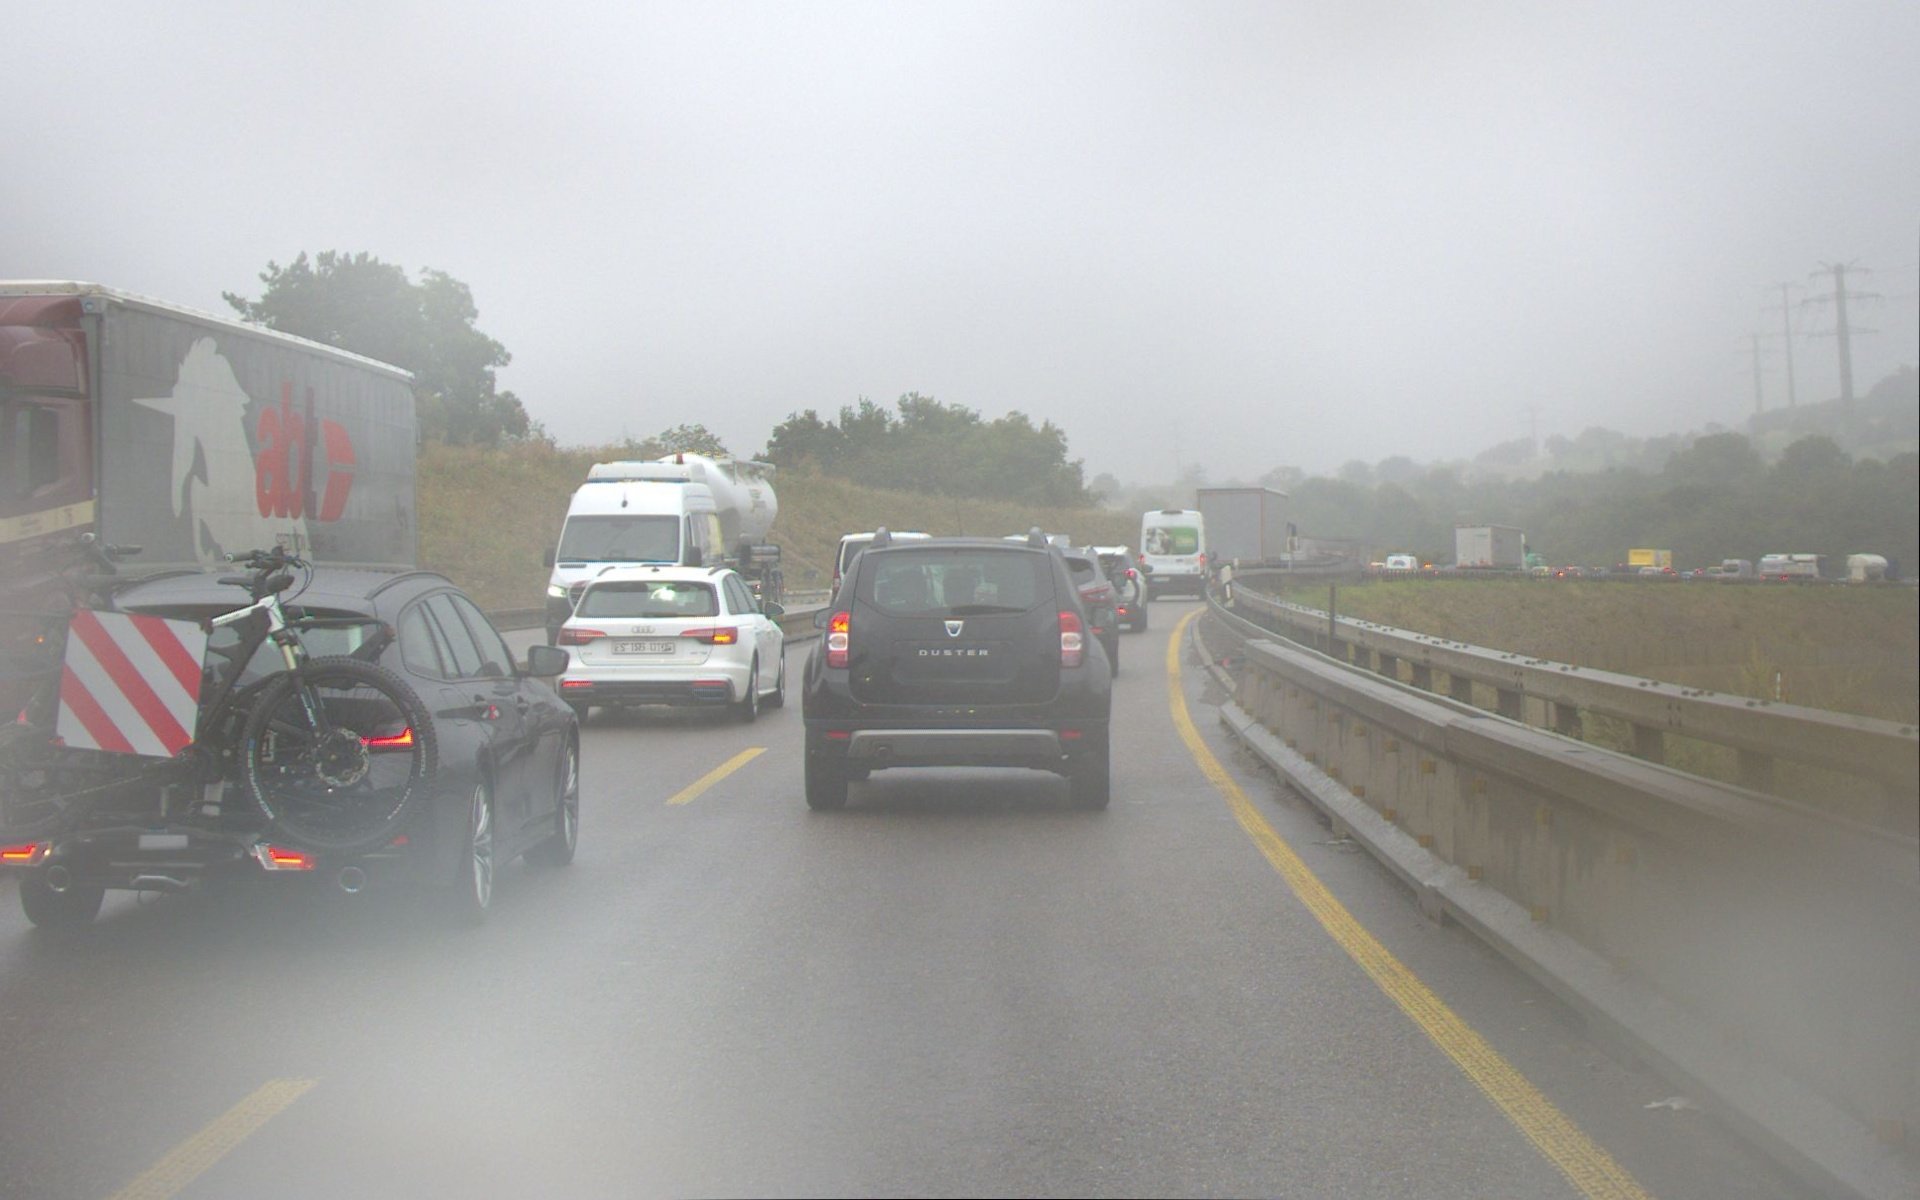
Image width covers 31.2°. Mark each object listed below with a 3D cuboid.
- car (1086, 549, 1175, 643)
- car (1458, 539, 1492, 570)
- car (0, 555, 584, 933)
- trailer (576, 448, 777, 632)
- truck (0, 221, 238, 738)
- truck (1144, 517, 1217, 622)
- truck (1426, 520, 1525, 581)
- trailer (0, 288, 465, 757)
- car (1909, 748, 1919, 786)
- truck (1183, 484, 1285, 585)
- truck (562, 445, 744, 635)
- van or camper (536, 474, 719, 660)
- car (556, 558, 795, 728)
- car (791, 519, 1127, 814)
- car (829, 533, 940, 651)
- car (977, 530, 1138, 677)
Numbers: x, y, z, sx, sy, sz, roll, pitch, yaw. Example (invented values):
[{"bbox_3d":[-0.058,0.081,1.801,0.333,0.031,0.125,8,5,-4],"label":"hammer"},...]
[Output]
[{"bbox_3d":[3.098,-0.099,61.927,1.531,1.635,4.012,1,1,4],"label":"car"},{"bbox_3d":[32.676,-2.874,218.046,1.776,1.909,3.998,1,1,14],"label":"car"},{"bbox_3d":[-2.838,0.553,15.394,1.829,1.471,3.776,-1,0,1],"label":"car"},{"bbox_3d":[-6.439,-1.349,80.109,3.255,3.950,11.536,-1,0,2],"label":"trailer"},{"bbox_3d":[-9.370,-1.046,32.821,2.980,4.394,6.931,-2,1,3],"label":"truck"},{"bbox_3d":[6.872,-0.953,106.969,2.149,3.155,6.459,1,1,4],"label":"truck"},{"bbox_3d":[36.647,-3.504,243.732,4.721,4.135,15.670,1,1,17],"label":"truck"},{"bbox_3d":[-8.941,-0.880,40.487,2.995,4.406,15.702,-2,1,3],"label":"trailer"},{"bbox_3d":[56.697,9.728,200.270,2.366,2.007,3.998,1,1,10],"label":"car"},{"bbox_3d":[10.672,-2.519,133.140,3.202,3.748,8.506,1,1,9],"label":"truck"},{"bbox_3d":[-6.609,-1.286,74.895,3.231,3.942,5.881,-1,0,2],"label":"truck"},{"bbox_3d":[-4.899,-0.507,51.482,2.278,2.605,5.829,0,1,-1],"label":"van or camper"},{"bbox_3d":[-2.586,0.348,32.179,1.867,1.455,4.549,1,1,0],"label":"car"},{"bbox_3d":[0.082,0.361,21.165,1.804,1.640,3.776,-1,0,4],"label":"car"},{"bbox_3d":[-1.211,-0.151,56.919,1.660,1.873,4.020,1,1,1],"label":"car"},{"bbox_3d":[1.173,0.016,42.012,1.867,1.703,4.000,0,1,1],"label":"car"}]
